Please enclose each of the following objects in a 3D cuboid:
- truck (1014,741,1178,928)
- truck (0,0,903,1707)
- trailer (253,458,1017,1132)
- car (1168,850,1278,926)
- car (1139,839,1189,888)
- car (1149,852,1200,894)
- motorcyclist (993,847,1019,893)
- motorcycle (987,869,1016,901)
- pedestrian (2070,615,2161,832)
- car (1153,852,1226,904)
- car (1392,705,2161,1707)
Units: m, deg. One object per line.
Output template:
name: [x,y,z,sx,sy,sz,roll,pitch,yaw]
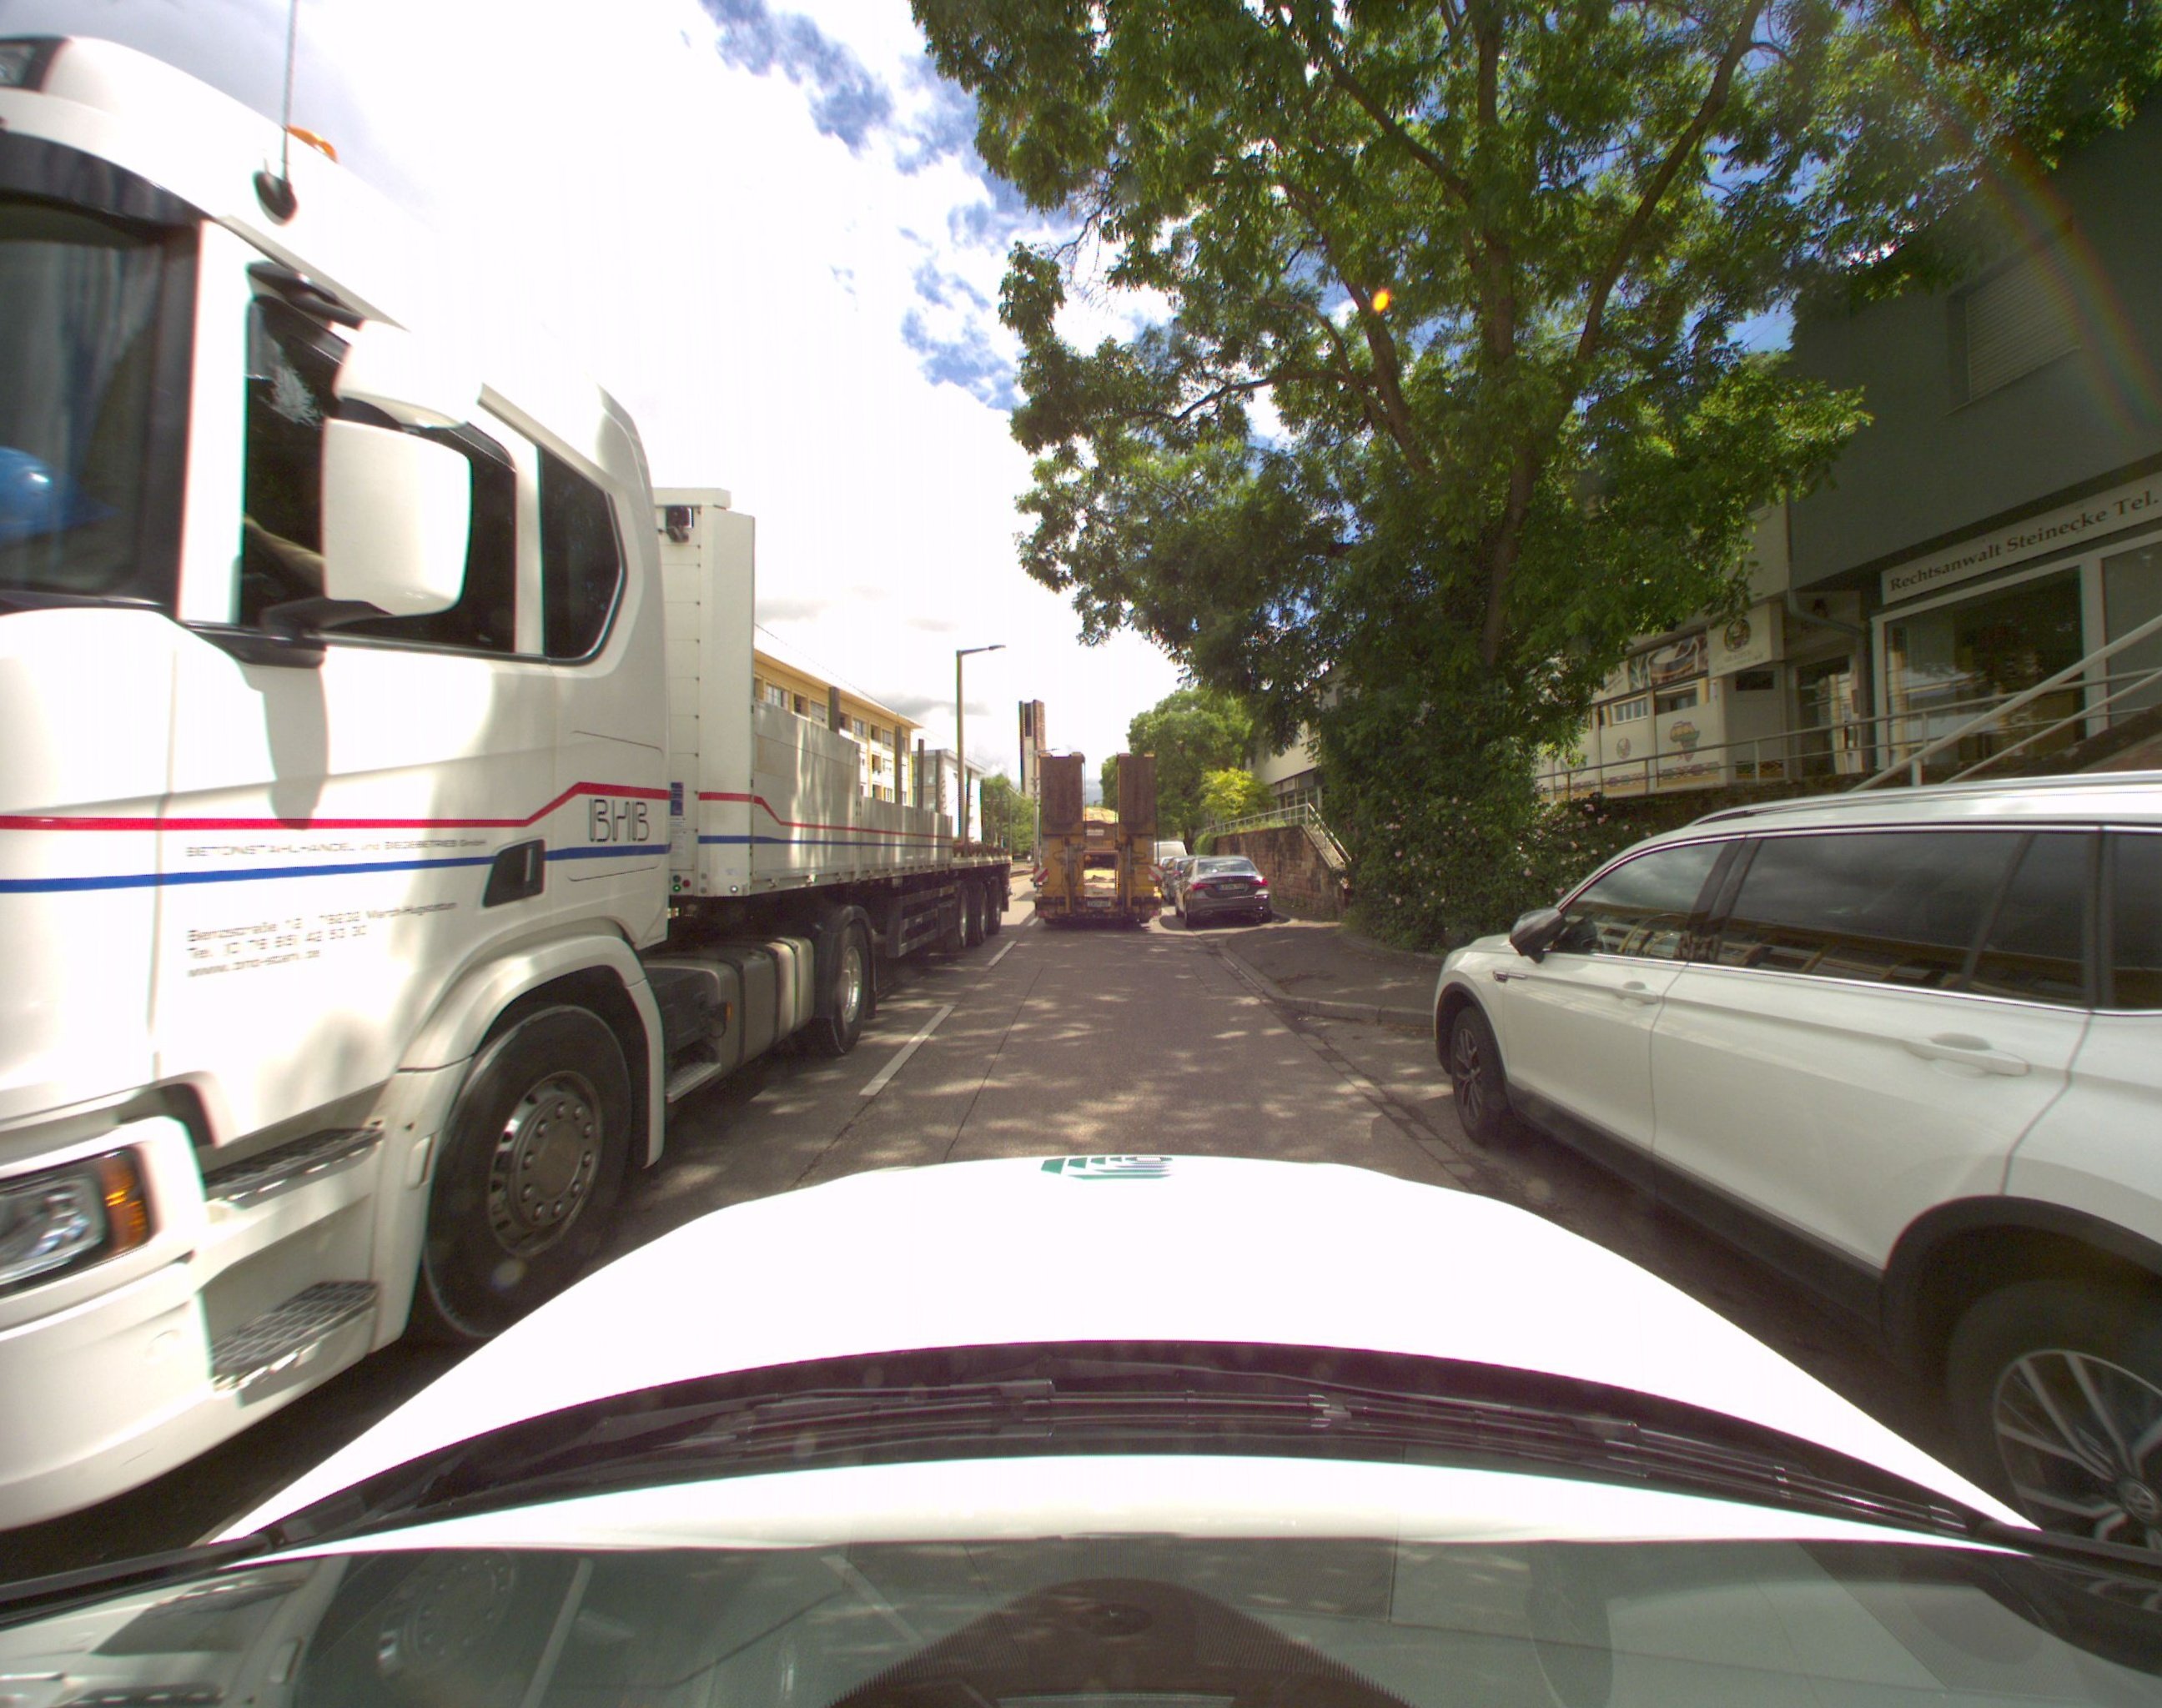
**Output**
truck: [0.379,-0.441,21.967,3.113,3.564,12.461,-1,1,1]
truck: [-3.044,-0.312,4.378,2.688,3.580,6.146,0,0,1]
trailer: [-2.906,-0.380,11.169,2.688,3.580,13.678,0,1,1]
car: [3.031,0.665,18.236,1.829,1.405,4.416,-2,0,2]
car: [3.590,0.361,35.969,1.793,1.968,4.591,-2,0,1]
car: [3.446,0.666,30.553,1.614,1.405,3.652,-2,0,2]
motorcyclist: [-2.451,0.512,26.648,0.744,1.467,0.887,-1,0,0]
motorcycle: [-2.597,1.008,26.715,0.744,0.954,1.832,0,0,1]
pedestrian: [5.067,-0.591,3.588,0.640,0.945,0.616,-3,0,-1]
car: [3.293,0.672,25.369,1.685,1.405,4.068,-2,0,0]
car: [2.749,0.555,2.764,1.816,1.682,4.580,-2,0,3]
